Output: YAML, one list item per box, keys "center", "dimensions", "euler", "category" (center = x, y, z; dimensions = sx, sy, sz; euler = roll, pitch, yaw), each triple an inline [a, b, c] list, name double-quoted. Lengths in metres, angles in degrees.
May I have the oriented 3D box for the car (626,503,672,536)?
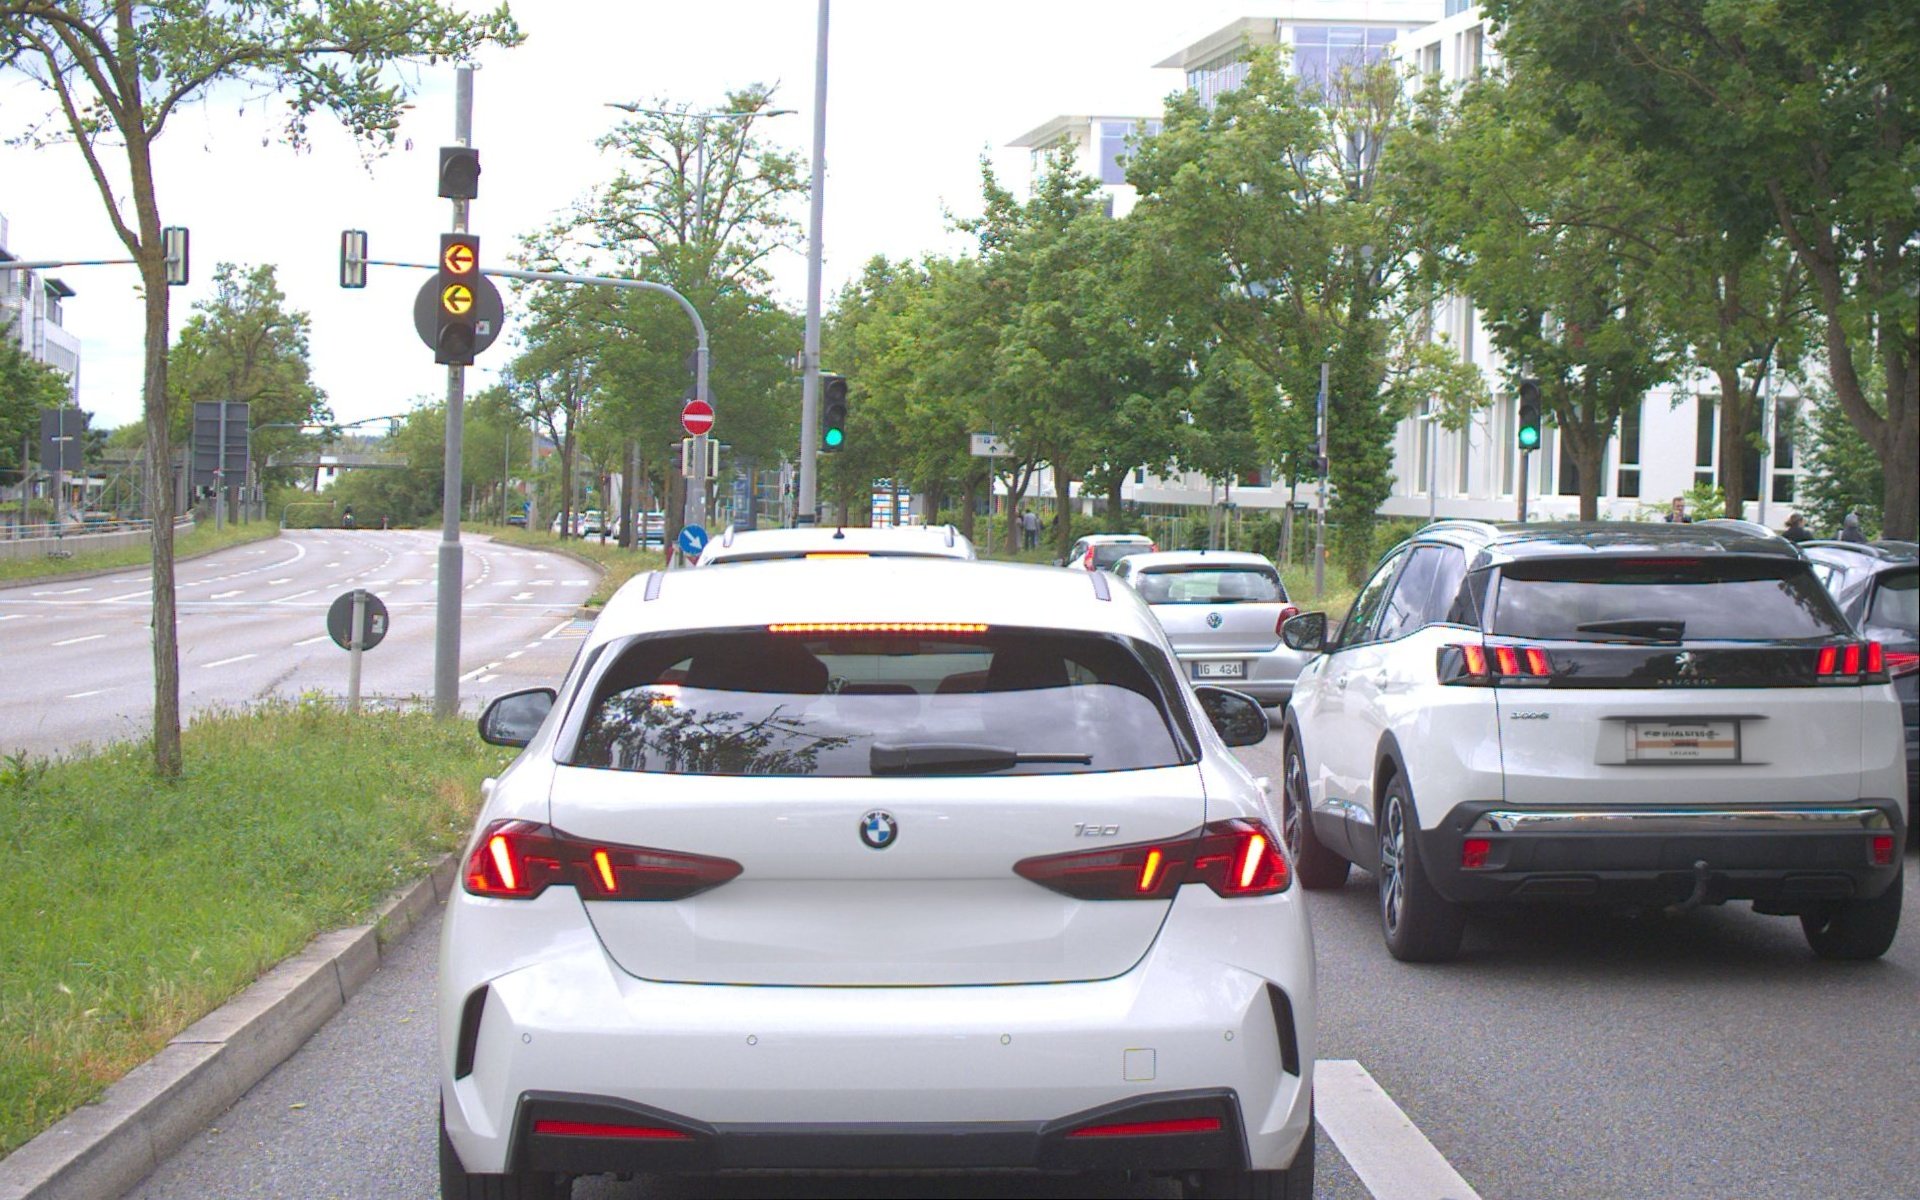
- center: [-15.903, -4.091, 175.715]
  dimensions: [1.993, 1.664, 4.001]
  euler: [-1, 1, -11]
  category: "car"

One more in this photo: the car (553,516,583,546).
- center: [-22.822, -3.990, 200.012]
  dimensions: [1.695, 1.711, 4.001]
  euler: [1, 1, -7]
  category: "car"

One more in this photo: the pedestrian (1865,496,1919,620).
- center: [12.906, -0.571, 47.038]
  dimensions: [0.767, 1.679, 0.883]
  euler: [1, 0, -1]
  category: "pedestrian"

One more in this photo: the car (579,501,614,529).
- center: [-23.732, -5.555, 224.496]
  dimensions: [1.993, 1.726, 4.001]
  euler: [1, 1, -10]
  category: "car"

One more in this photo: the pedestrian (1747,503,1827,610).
- center: [11.300, -0.593, 46.996]
  dimensions: [0.789, 1.443, 1.112]
  euler: [1, 0, -1]
  category: "pedestrian"

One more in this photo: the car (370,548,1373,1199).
- center: [-0.189, 0.618, 8.337]
  dimensions: [1.822, 1.433, 4.000]
  euler: [1, 1, -1]
  category: "car"

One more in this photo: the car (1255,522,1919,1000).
- center: [2.372, 0.498, 13.605]
  dimensions: [1.854, 1.590, 4.314]
  euler: [0, 1, -2]
  category: "car"

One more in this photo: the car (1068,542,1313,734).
- center: [1.873, 0.268, 28.895]
  dimensions: [1.605, 1.463, 3.676]
  euler: [1, 1, -3]
  category: "car"

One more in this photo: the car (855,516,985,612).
- center: [-0.739, -0.650, 60.130]
  dimensions: [1.891, 1.590, 4.314]
  euler: [1, 1, -5]
  category: "car"

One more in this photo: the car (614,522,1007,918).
- center: [-0.626, 0.448, 15.855]
  dimensions: [1.549, 1.563, 4.000]
  euler: [1, 1, -1]
  category: "car"

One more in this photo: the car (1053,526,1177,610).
- center: [2.668, -0.569, 59.763]
  dimensions: [1.653, 1.420, 3.536]
  euler: [0, 1, -6]
  category: "car"

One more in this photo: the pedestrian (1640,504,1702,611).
- center: [10.581, -0.635, 51.172]
  dimensions: [0.741, 1.568, 0.674]
  euler: [1, 0, -1]
  category: "pedestrian"

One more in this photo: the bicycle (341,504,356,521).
- center: [-39.957, -5.703, 224.558]
  dimensions: [0.810, 1.100, 2.557]
  euler: [1, 1, -13]
  category: "bicycle"

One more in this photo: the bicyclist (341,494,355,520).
- center: [-39.969, -6.067, 224.640]
  dimensions: [0.810, 1.647, 1.189]
  euler: [1, 0, -13]
  category: "bicyclist"

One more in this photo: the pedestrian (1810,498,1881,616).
- center: [12.097, -0.582, 47.003]
  dimensions: [0.699, 1.590, 0.883]
  euler: [1, 0, -1]
  category: "pedestrian"

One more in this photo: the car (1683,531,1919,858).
- center: [5.071, 0.415, 18.205]
  dimensions: [1.657, 1.507, 4.000]
  euler: [1, 2, 1]
  category: "car"

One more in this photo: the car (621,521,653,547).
- center: [-18.826, -3.838, 200.364]
  dimensions: [1.692, 1.481, 3.694]
  euler: [1, 1, -8]
  category: "car"

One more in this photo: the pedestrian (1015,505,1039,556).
- center: [2.685, -2.784, 137.939]
  dimensions: [0.762, 2.007, 0.754]
  euler: [1, 0, -15]
  category: "pedestrian"
